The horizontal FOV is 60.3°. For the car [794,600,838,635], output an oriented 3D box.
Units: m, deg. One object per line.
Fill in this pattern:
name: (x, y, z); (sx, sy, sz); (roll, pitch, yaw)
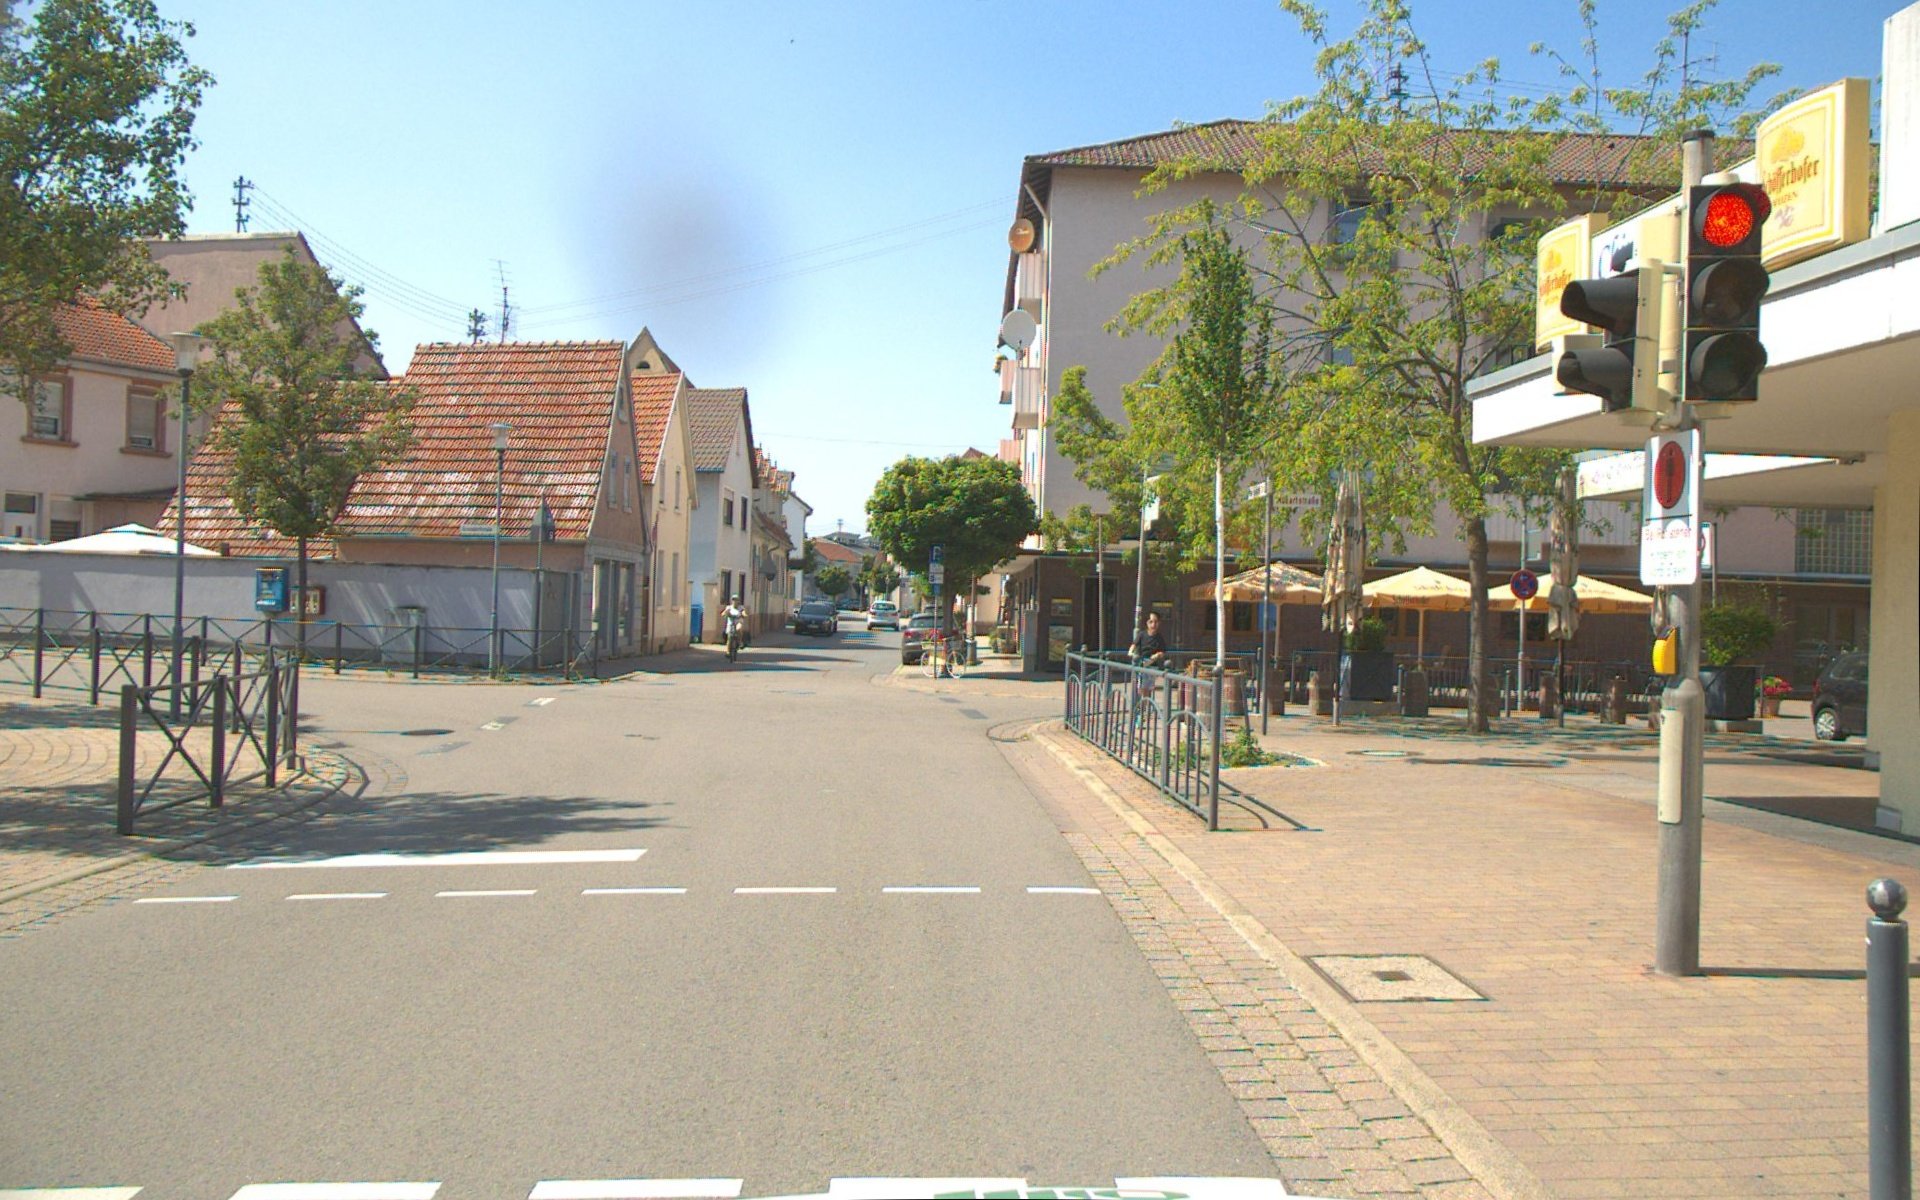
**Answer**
car: (-6.783, 0.827, 78.085); (1.679, 1.543, 3.786); (2, 0, 0)

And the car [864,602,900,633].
car: (-4.336, 0.980, 92.670); (1.796, 1.681, 3.999); (2, 0, -1)

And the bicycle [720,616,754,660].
bicycle: (-5.903, 0.998, 43.769); (0.660, 1.113, 1.895); (0, 0, -1)

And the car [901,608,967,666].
car: (-0.703, 1.022, 47.369); (1.768, 1.528, 4.000); (2, 0, 0)

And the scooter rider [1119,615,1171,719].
scooter rider: (2.369, 0.852, 21.204); (0.508, 1.308, 0.415); (2, -1, -21)

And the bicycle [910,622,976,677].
bicycle: (-0.408, 1.152, 38.599); (0.523, 1.214, 1.648); (2, -1, -44)

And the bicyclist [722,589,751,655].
bicyclist: (-5.894, 0.585, 43.722); (0.655, 1.720, 0.761); (1, -1, -1)

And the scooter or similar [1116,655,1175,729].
scooter or similar: (2.366, 1.173, 21.178); (0.373, 0.889, 0.885); (2, -1, -20)
